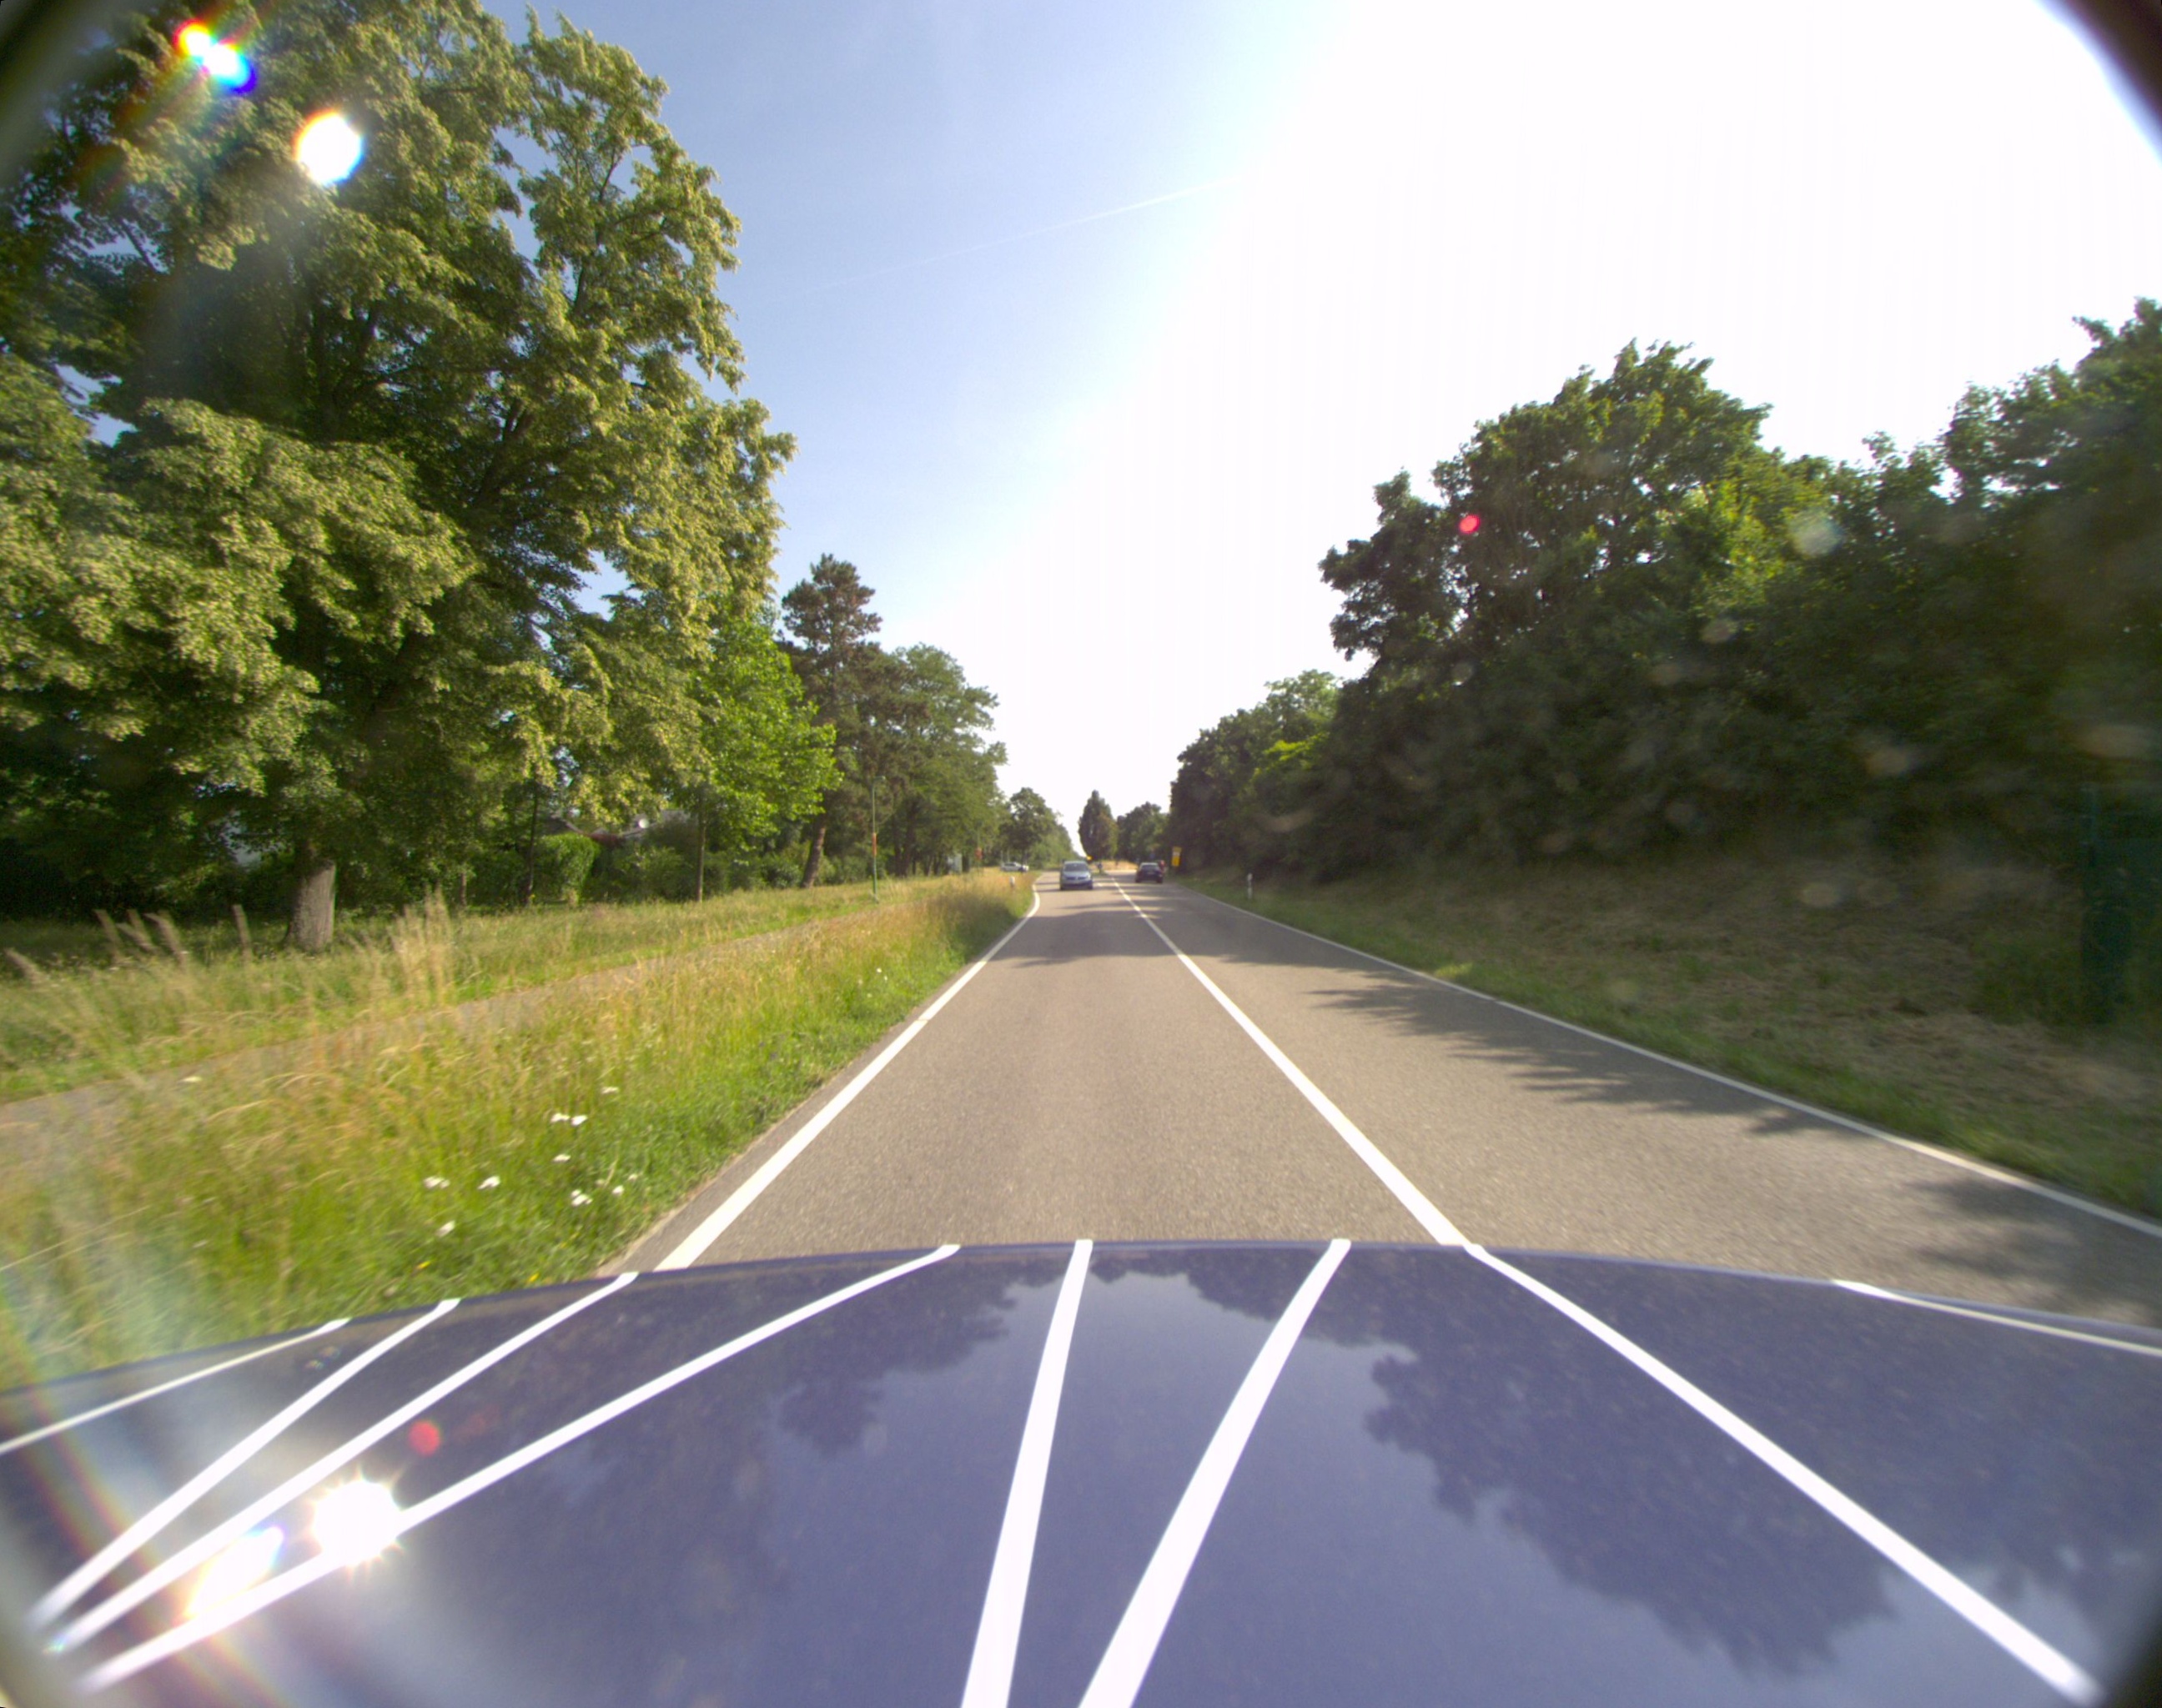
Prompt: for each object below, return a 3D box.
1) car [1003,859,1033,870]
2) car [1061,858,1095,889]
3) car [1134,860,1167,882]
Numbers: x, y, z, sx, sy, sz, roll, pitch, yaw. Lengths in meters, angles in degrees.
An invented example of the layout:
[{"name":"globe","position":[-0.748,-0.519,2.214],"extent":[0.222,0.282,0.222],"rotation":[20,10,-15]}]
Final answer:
[{"name":"car","position":[-8.881,1.529,107.545],"extent":[3.996,1.477,2.001],"rotation":[-1,0,4]},{"name":"car","position":[-0.153,1.043,41.874],"extent":[1.808,1.592,4.269],"rotation":[-1,0,0]},{"name":"car","position":[4.908,1.196,54.394],"extent":[1.875,1.415,4.577],"rotation":[1,0,0]}]
